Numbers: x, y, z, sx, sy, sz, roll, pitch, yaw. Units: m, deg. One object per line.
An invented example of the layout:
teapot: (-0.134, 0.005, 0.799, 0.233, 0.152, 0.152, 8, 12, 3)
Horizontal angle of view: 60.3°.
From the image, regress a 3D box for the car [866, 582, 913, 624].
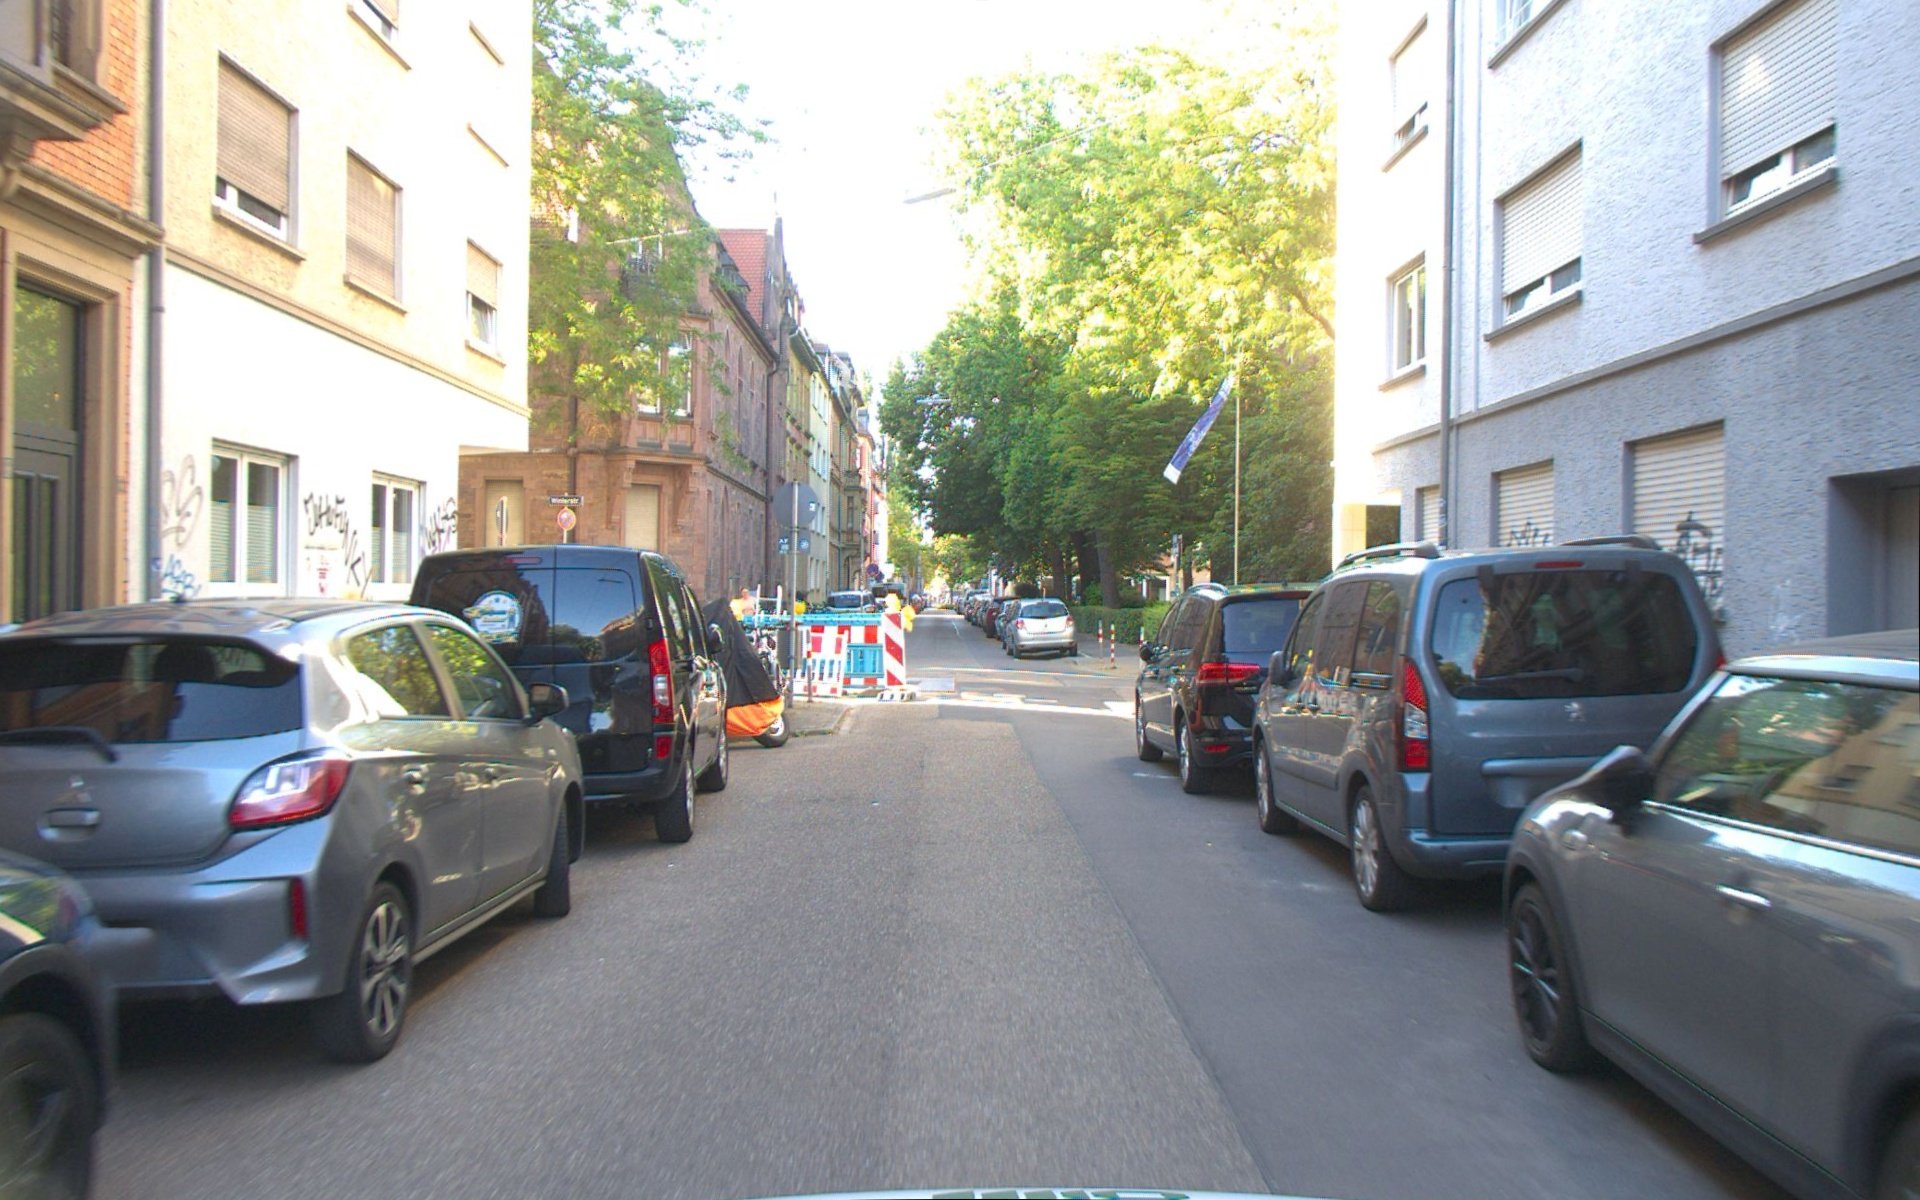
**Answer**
car: (-3.724, 0.159, 88.080, 2.262, 2.151, 5.169, 1, 0, 0)

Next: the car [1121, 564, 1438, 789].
car: (2.611, 0.584, 14.586, 1.862, 1.668, 4.389, 1, 0, -1)

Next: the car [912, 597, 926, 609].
car: (-5.812, 0.387, 235.398, 1.953, 1.676, 3.999, 1, 0, -1)

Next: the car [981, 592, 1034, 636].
car: (1.856, 0.560, 65.289, 1.856, 1.654, 3.999, 1, 0, -2)

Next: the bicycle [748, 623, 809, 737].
bicycle: (-2.003, 0.864, 18.425, 0.416, 1.160, 1.666, 3, 0, 1)

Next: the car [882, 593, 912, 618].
car: (-4.132, 0.389, 108.714, 1.864, 1.601, 3.999, 1, 0, -2)

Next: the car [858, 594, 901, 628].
car: (-3.418, 0.438, 70.771, 1.735, 1.377, 3.999, 1, 0, -1)

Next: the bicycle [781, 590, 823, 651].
bicycle: (-3.856, 0.491, 40.340, 0.563, 1.448, 2.491, 1, 0, -16)

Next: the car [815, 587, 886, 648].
car: (-3.266, 0.525, 50.012, 1.843, 1.737, 4.000, -1, 0, 0)

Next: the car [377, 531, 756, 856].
car: (-2.450, 0.521, 11.365, 1.782, 1.797, 4.332, 1, 0, -4)

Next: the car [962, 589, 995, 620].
car: (1.062, 0.242, 96.529, 1.792, 1.733, 3.999, 1, 0, -2)

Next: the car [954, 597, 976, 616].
car: (0.411, 0.571, 153.266, 1.953, 1.758, 3.999, 0, 0, -1)

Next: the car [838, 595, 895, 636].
car: (-3.425, 0.564, 61.084, 1.843, 1.435, 4.000, -1, 0, 0)

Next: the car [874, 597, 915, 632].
car: (-3.131, 0.696, 79.682, 1.953, 1.601, 3.999, 1, 0, -2)

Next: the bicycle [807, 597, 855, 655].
bicycle: (-3.162, 0.616, 40.303, 0.671, 1.368, 2.491, 1, 0, -16)

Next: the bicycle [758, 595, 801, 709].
bicycle: (-2.120, 0.591, 19.527, 0.391, 1.248, 1.505, 0, 2, -2)

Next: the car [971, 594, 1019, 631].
car: (1.560, 0.577, 75.158, 1.953, 1.601, 3.999, 1, 0, -2)

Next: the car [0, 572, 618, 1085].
car: (-2.567, 0.656, 6.643, 1.643, 1.475, 3.644, 1, 0, -1)

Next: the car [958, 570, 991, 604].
car: (0.970, -0.908, 115.624, 2.117, 2.295, 4.524, 1, 0, -2)

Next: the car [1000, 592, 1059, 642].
car: (2.286, 0.562, 55.274, 1.706, 1.601, 3.999, 1, 0, -2)

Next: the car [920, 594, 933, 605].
car: (-5.156, -0.082, 257.536, 1.953, 1.676, 3.999, 1, 0, -1)

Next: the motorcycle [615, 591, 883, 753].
motorcycle: (-2.083, 0.692, 16.450, 2.483, 1.508, 0.895, 1, 0, -28)

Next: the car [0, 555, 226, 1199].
car: (-2.751, 0.708, 2.063, 1.953, 1.579, 3.999, 0, 0, -1)

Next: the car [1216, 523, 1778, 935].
car: (2.820, 0.563, 9.910, 1.718, 1.817, 4.723, -2, 1, -1)

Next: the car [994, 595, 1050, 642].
car: (2.231, 0.659, 60.464, 1.804, 1.624, 3.999, 1, 0, -1)

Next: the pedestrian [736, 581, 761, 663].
pedestrian: (-4.607, 0.483, 36.043, 0.514, 1.771, 0.557, 1, 0, -5)

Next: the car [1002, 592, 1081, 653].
car: (2.114, 0.553, 44.097, 1.689, 1.549, 3.997, 0, 0, -3)

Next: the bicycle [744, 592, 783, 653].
bicycle: (-4.830, 0.540, 40.808, 0.669, 1.448, 2.797, 1, 0, -1)

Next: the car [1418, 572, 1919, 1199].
car: (2.722, 0.709, 4.541, 1.718, 1.478, 4.288, -4, 1, 1)

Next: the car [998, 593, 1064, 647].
car: (2.099, 0.590, 49.629, 1.688, 1.549, 3.999, 1, 0, -2)
